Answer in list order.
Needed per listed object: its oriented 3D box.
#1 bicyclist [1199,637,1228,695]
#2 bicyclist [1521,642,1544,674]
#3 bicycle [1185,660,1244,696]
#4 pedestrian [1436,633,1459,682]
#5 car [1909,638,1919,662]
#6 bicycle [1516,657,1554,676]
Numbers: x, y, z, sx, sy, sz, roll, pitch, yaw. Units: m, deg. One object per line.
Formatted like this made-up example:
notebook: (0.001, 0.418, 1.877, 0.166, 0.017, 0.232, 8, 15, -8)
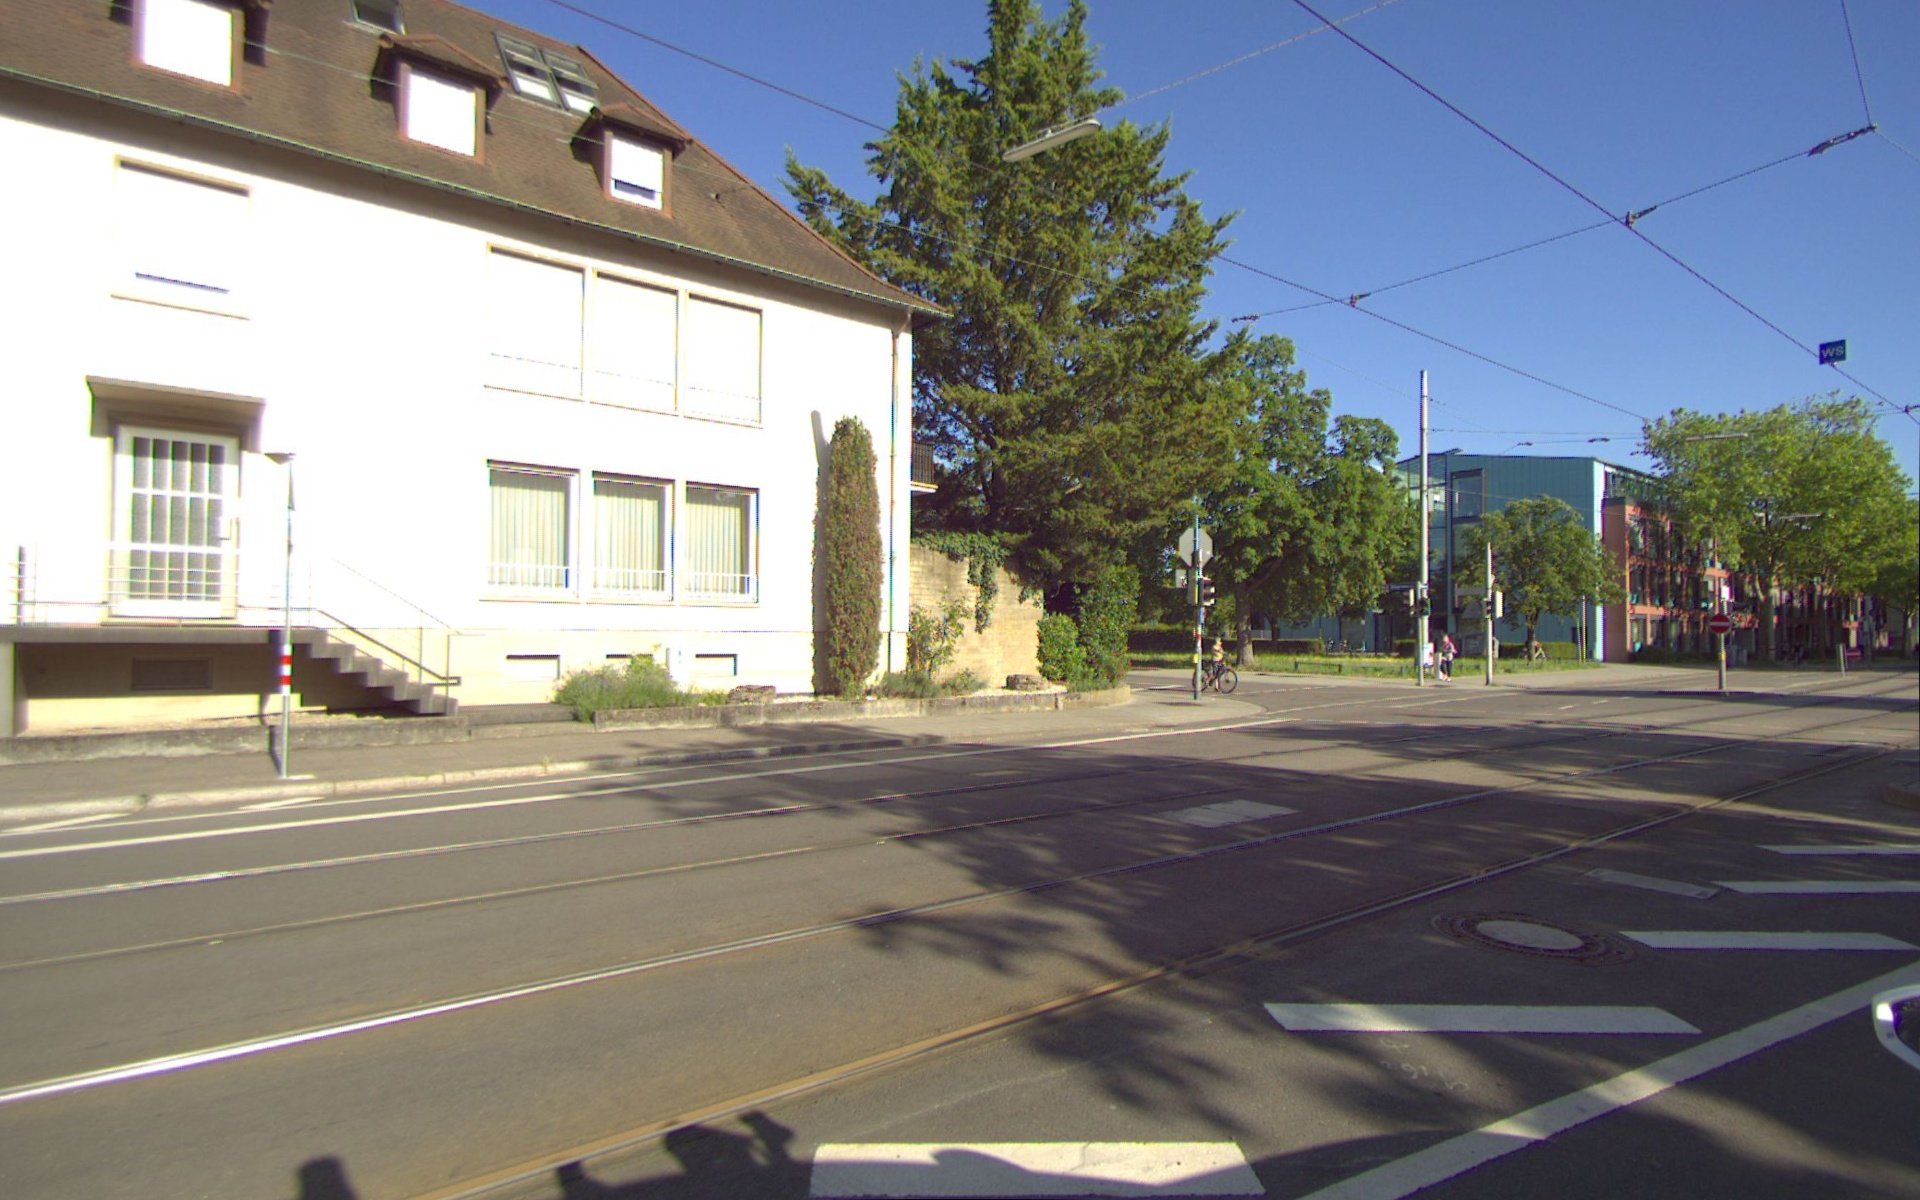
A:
bicyclist: (7.615, 1.967, 30.162, 0.531, 1.707, 0.676, 1, -2, -30)
bicyclist: (34.141, 3.450, 59.897, 1.082, 1.909, 0.450, 0, -2, 19)
bicycle: (7.621, 2.319, 30.132, 0.531, 1.028, 1.936, 1, -3, -30)
pedestrian: (17.693, 2.063, 36.466, 0.601, 1.712, 0.731, 2, 1, 34)
car: (77.453, 4.004, 80.293, 4.266, 1.839, 1.954, 2, -3, -43)
bicycle: (34.172, 3.958, 59.755, 1.879, 1.120, 0.563, 0, -2, 18)
